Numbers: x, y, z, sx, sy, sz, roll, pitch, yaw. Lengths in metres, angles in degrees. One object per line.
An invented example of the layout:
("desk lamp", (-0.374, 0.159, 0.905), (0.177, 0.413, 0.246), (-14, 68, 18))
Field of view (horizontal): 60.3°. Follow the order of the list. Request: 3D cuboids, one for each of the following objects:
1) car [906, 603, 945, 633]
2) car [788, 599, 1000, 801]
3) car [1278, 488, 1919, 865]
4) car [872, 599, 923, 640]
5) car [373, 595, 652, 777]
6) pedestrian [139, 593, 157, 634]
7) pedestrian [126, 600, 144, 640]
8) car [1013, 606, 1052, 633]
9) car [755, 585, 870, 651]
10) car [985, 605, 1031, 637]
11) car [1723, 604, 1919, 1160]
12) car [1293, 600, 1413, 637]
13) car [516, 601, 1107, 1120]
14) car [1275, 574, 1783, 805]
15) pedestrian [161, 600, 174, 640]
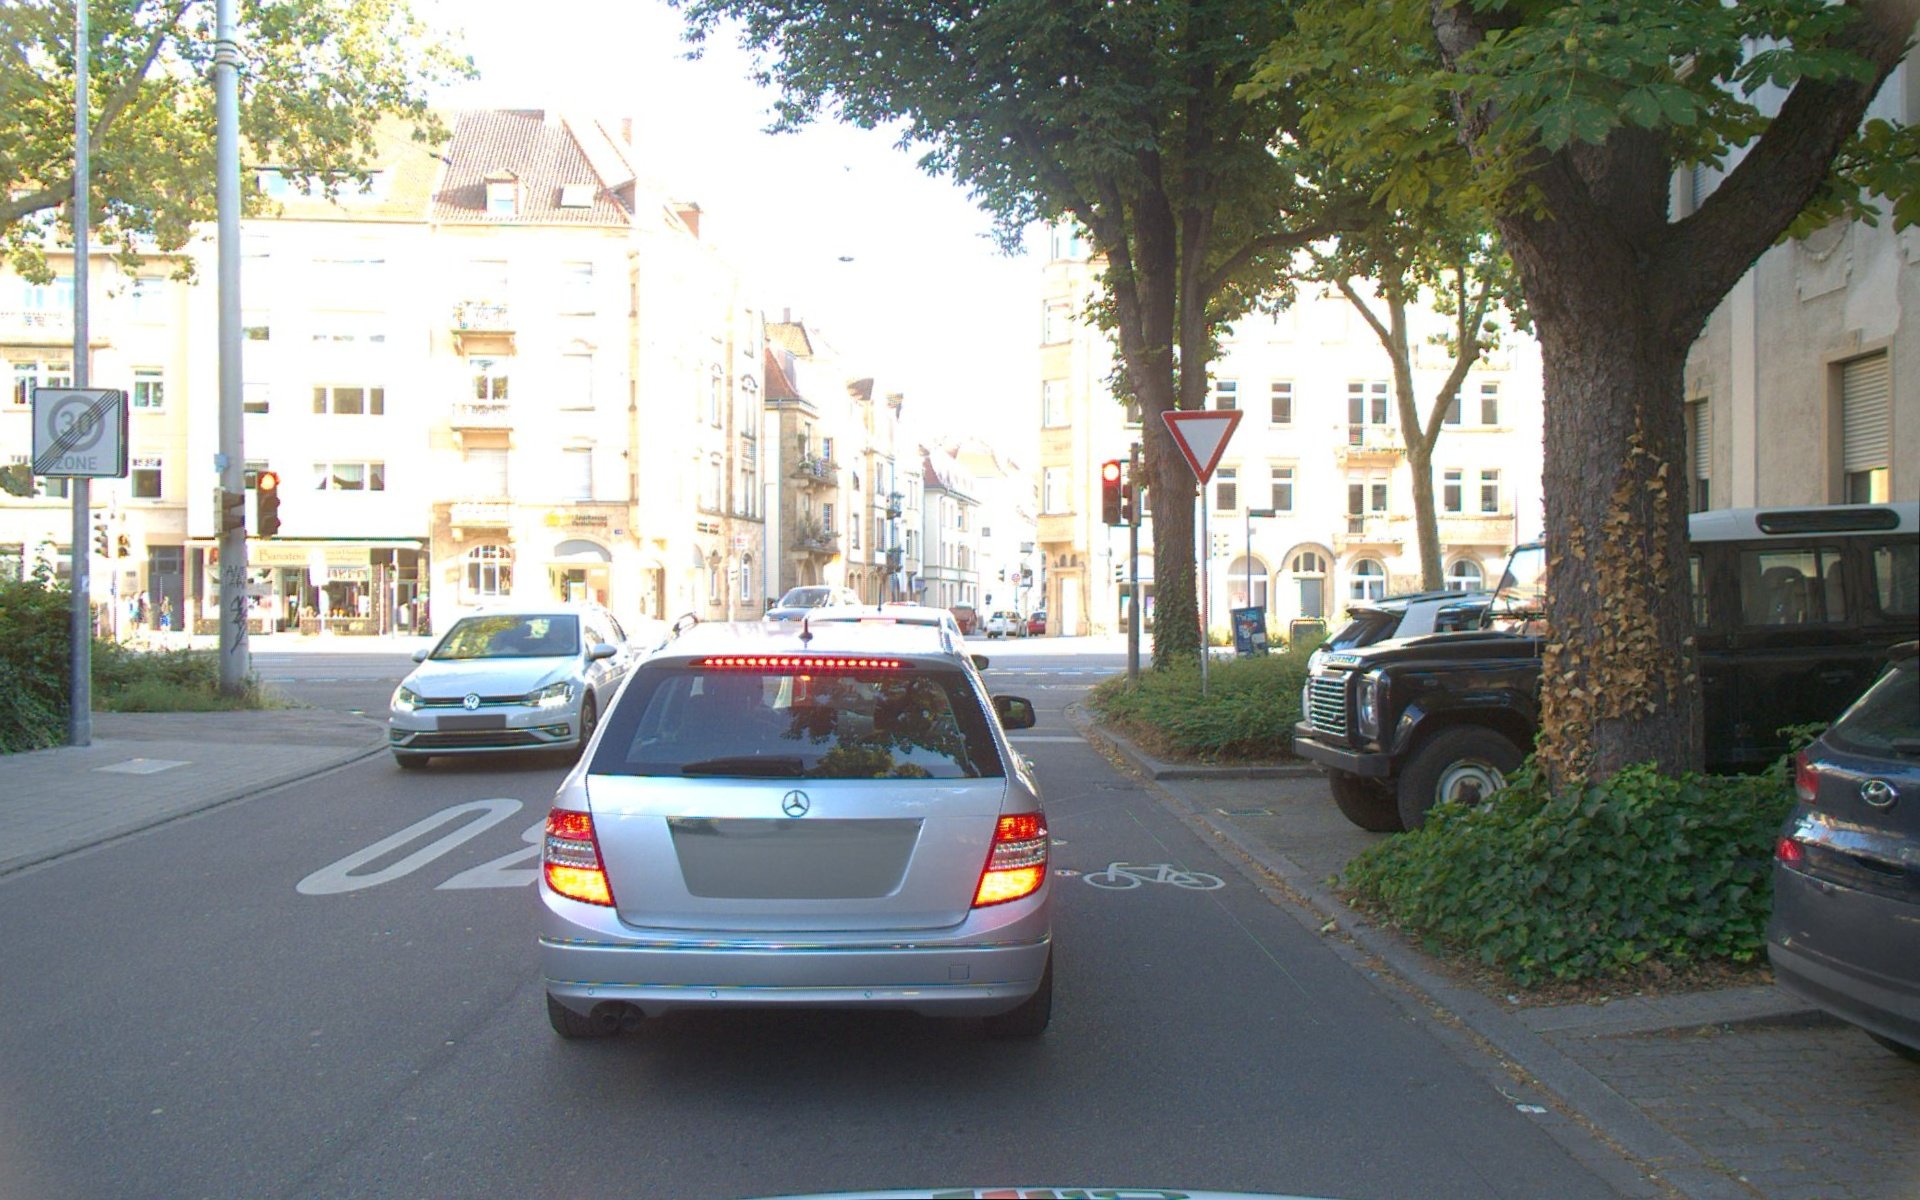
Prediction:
("car", (-2.118, 1.102, 102.381), (1.615, 1.814, 3.866), (0, -1, 10))
("car", (-0.542, 0.718, 13.649), (1.502, 1.415, 3.597), (0, 0, -2))
("car", (4.388, 0.397, 10.238), (4.402, 1.990, 1.791), (-2, 0, -4))
("car", (-3.119, 0.962, 83.310), (1.896, 1.993, 4.153), (0, 0, 7))
("car", (-4.249, 0.734, 16.389), (1.745, 1.487, 4.297), (-2, 1, -3))
("pedestrian", (-30.655, 0.507, 62.437), (0.557, 1.537, 0.499), (0, 0, -20))
("pedestrian", (-31.753, 0.760, 63.652), (0.532, 1.537, 0.502), (0, 0, -43))
("car", (4.482, 1.191, 102.122), (1.684, 1.503, 4.004), (-4, 0, 11))
("car", (-3.603, 0.405, 41.005), (1.581, 1.527, 3.594), (0, 1, 18))
("car", (2.526, 1.059, 85.898), (1.684, 1.504, 4.004), (-2, 0, 11))
("car", (4.319, 0.683, 4.548), (3.675, 1.446, 1.627), (-2, -1, -4))
("car", (11.822, 0.559, 49.842), (3.296, 1.087, 1.380), (0, 0, -2))
("car", (-0.514, 0.753, 6.470), (1.657, 1.454, 3.490), (1, 0, -3))
("car", (4.436, 0.652, 13.181), (3.415, 1.614, 1.708), (-1, 0, -7))
("pedestrian", (-30.463, 0.757, 63.551), (0.423, 1.537, 0.471), (0, 0, -23))
